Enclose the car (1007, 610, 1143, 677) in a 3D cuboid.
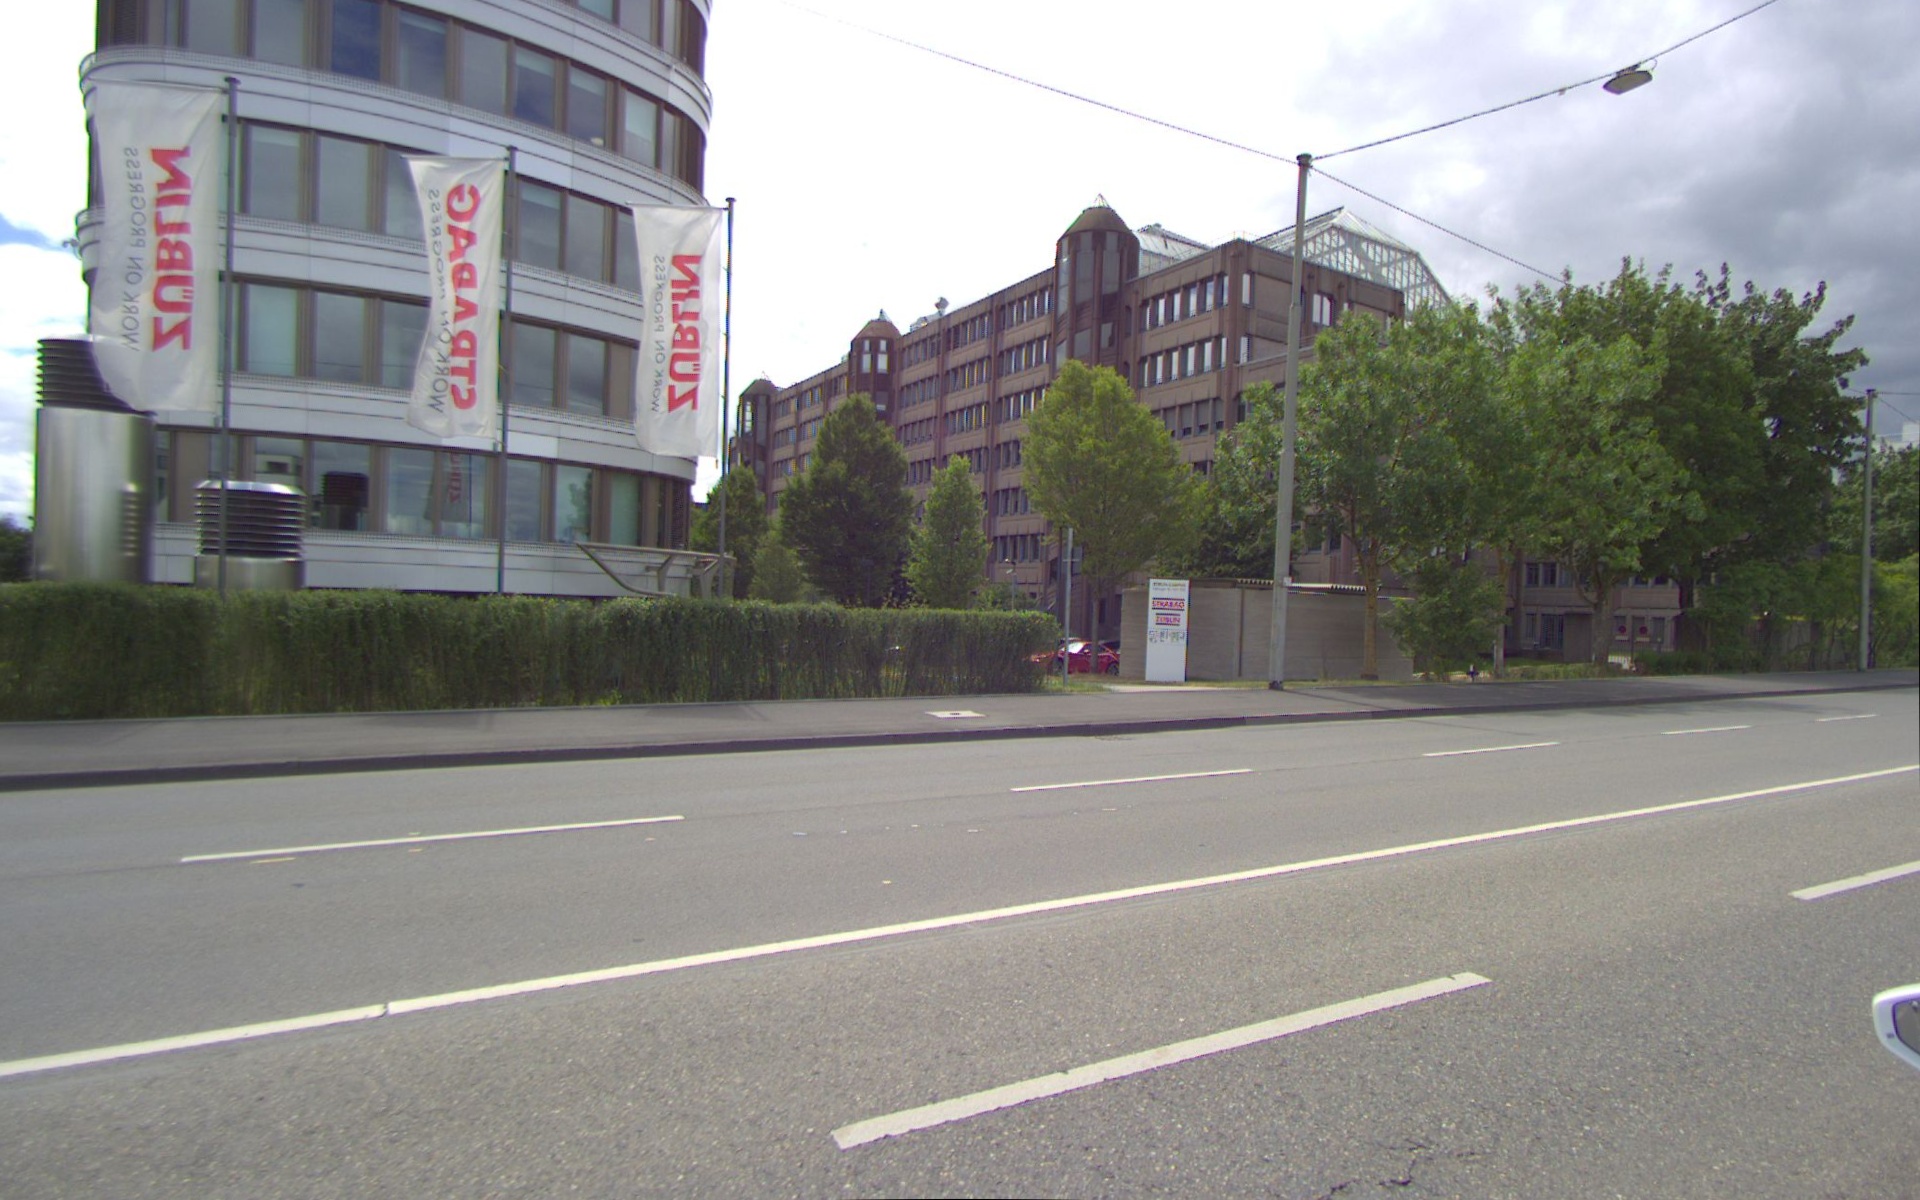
[{"bbox_3d":[3.626,1.380,31.280,3.964,1.817,1.849,6,-3,-37],"label":"car"}]
